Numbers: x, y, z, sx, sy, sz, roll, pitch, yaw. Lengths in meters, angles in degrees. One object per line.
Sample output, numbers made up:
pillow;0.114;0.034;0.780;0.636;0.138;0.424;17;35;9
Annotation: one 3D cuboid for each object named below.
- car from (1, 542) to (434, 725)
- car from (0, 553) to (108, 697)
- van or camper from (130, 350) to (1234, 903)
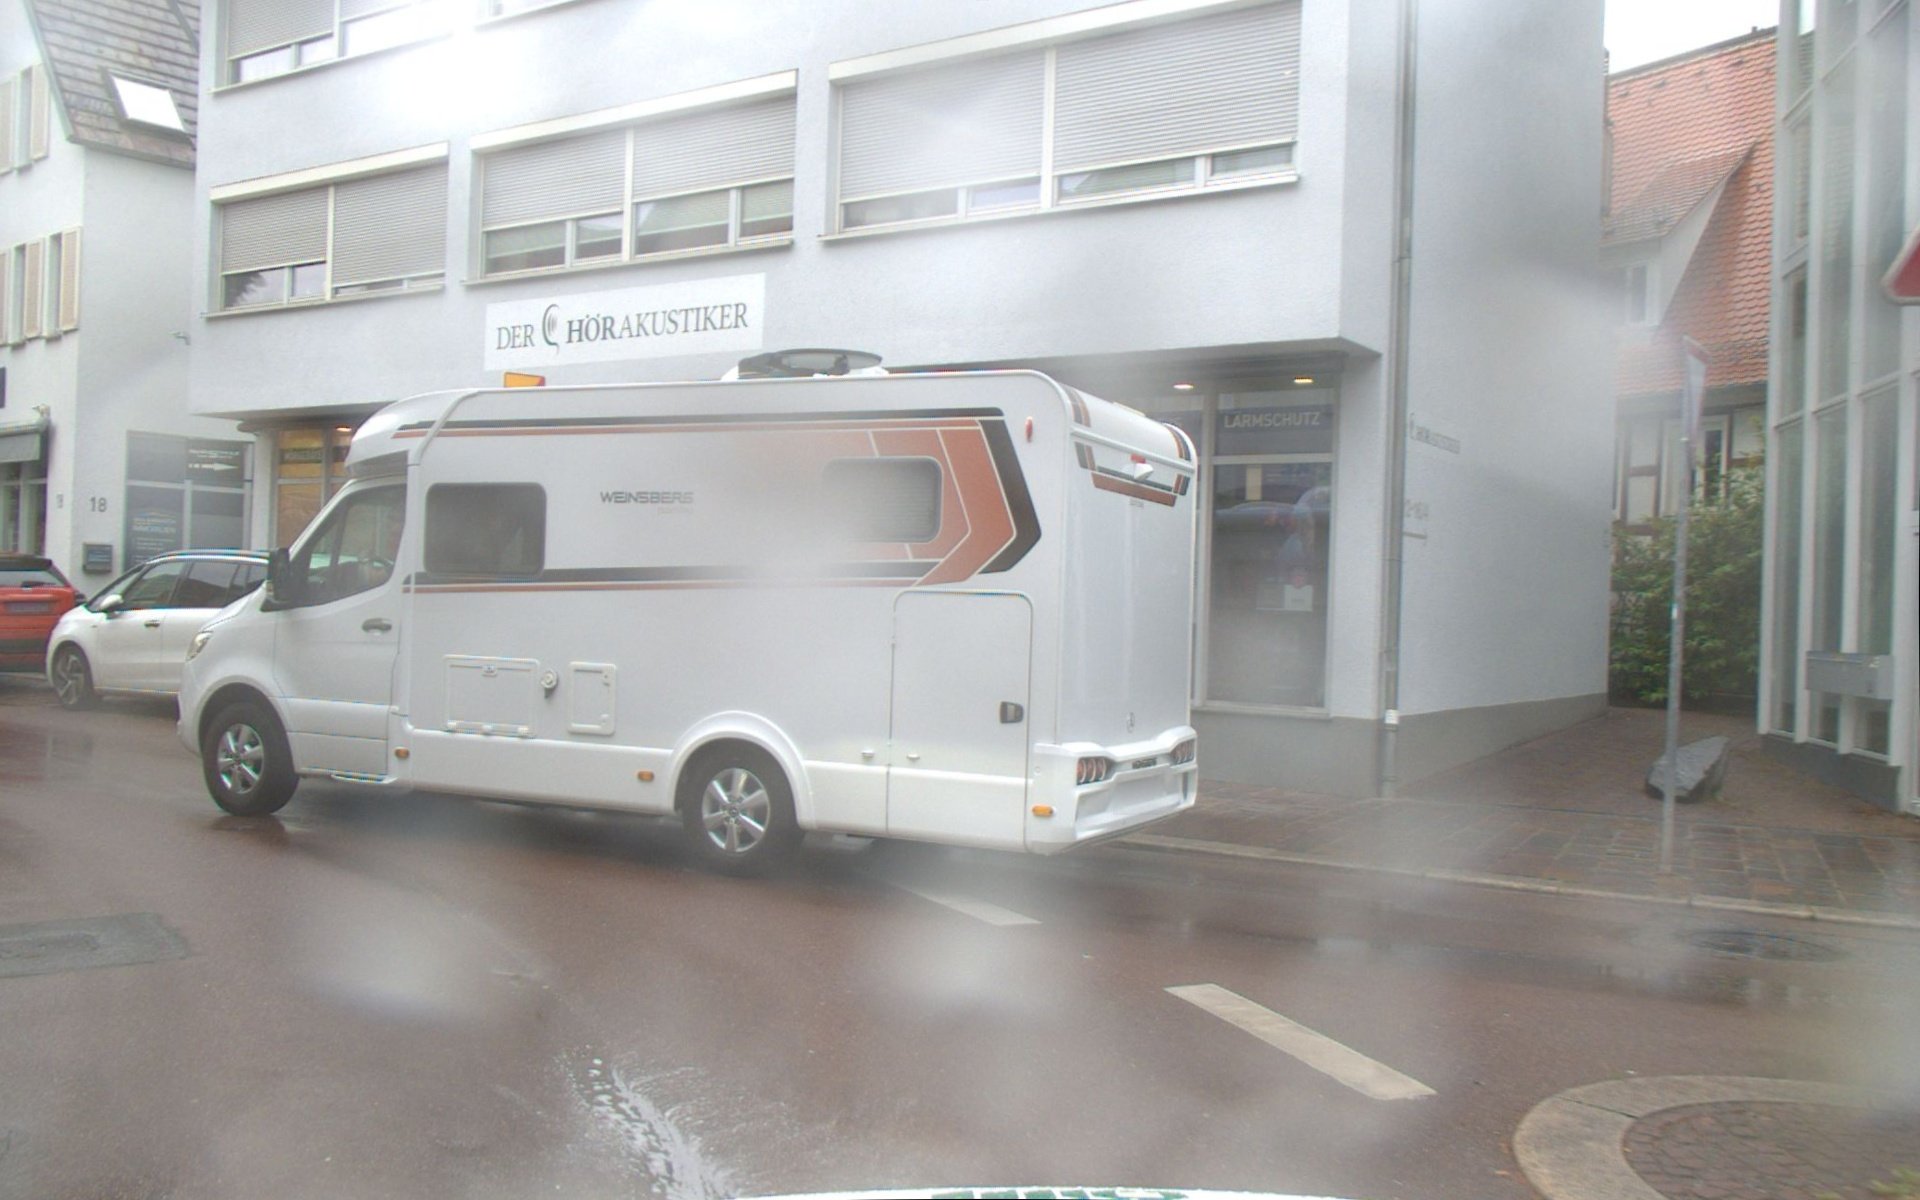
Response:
car;-7.579;0.281;16.797;4.371;1.659;1.778;1;0;30
car;-11.821;0.225;19.297;3.718;1.555;1.678;2;1;32
van or camper;-1.858;0.061;10.416;6.597;2.631;2.443;2;-1;26
